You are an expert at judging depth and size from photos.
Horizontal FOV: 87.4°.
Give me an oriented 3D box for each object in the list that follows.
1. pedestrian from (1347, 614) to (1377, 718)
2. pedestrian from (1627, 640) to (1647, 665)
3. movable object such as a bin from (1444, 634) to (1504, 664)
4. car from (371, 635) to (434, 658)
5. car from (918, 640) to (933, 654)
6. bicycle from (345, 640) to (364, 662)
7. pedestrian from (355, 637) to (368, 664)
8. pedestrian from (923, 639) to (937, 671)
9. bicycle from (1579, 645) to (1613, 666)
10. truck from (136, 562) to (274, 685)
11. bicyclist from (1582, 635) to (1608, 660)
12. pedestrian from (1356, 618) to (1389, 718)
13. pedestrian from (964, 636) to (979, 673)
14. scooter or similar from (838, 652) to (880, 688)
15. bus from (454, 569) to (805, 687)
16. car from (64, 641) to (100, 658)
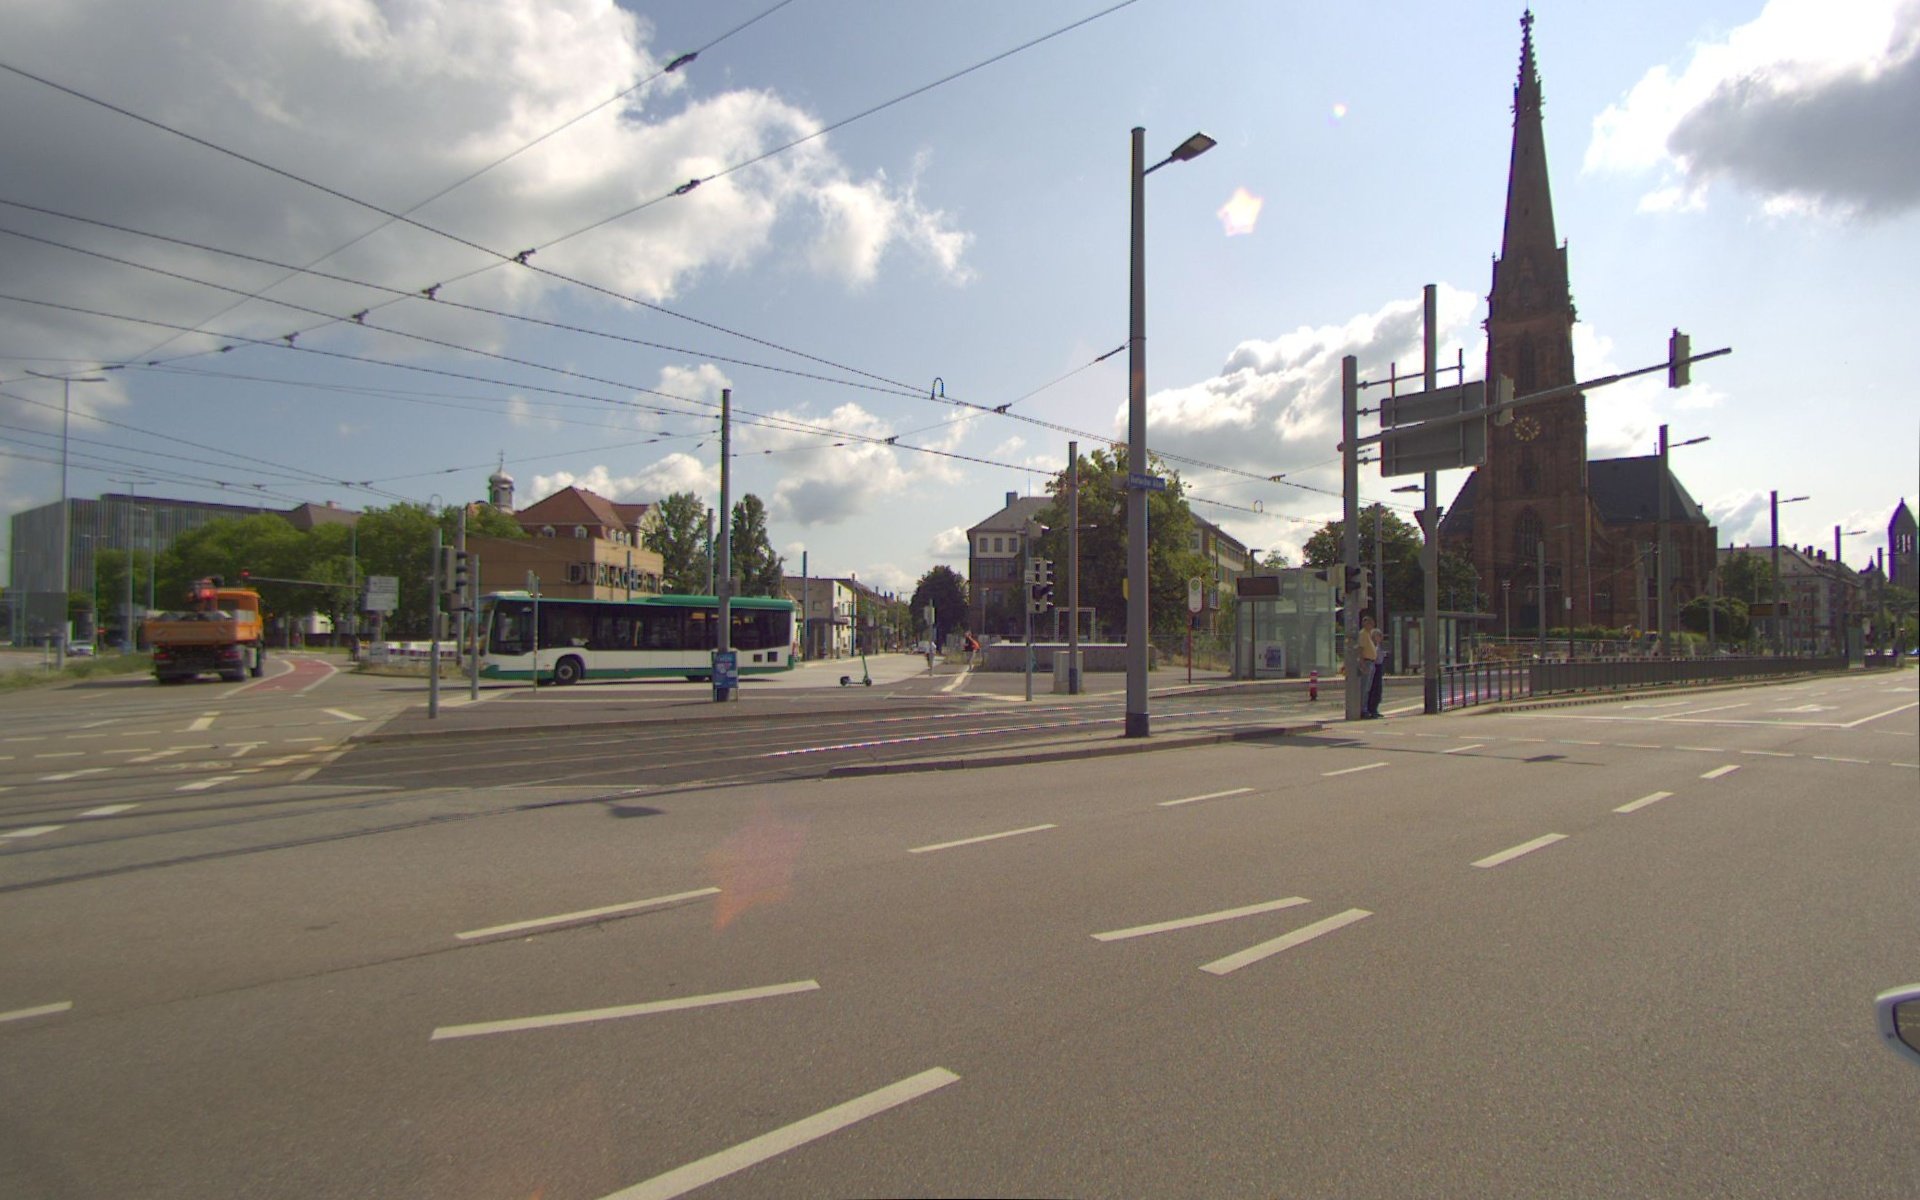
[{"bbox_3d":[8.027,1.303,20.054,0.420,2.040,0.576,-1,-3,37],"label":"pedestrian"},{"bbox_3d":[54.995,4.239,81.551,1.042,2.040,1.058,2,-3,-38],"label":"pedestrian"},{"bbox_3d":[51.716,4.950,101.112,5.080,2.949,1.990,-2,-3,42],"label":"movable object such as a bin"},{"bbox_3d":[-45.063,3.769,81.244,3.925,1.806,1.999,0,-2,-6],"label":"car"},{"bbox_3d":[-5.179,7.111,151.810,1.960,2.040,4.002,0,-2,2],"label":"car"},{"bbox_3d":[-41.350,3.470,68.558,0.963,1.429,2.271,1,-3,-35],"label":"bicycle"},{"bbox_3d":[-40.387,3.400,67.767,0.645,1.787,0.995,1,-2,-26],"label":"pedestrian"},{"bbox_3d":[-1.640,2.962,54.359,0.766,1.694,0.720,0,-2,-3],"label":"pedestrian"},{"bbox_3d":[44.524,3.899,70.322,3.668,1.445,1.182,3,-4,-44],"label":"bicycle"},{"bbox_3d":[-27.766,0.941,37.334,2.802,4.061,8.014,1,-3,-28],"label":"truck"},{"bbox_3d":[44.356,3.316,70.181,1.673,1.706,1.166,3,-3,-44],"label":"bicyclist"},{"bbox_3d":[8.584,1.406,20.892,0.495,2.040,0.514,-1,-3,37],"label":"pedestrian"},{"bbox_3d":[0.581,2.719,49.794,0.706,1.817,0.563,0,-2,1],"label":"pedestrian"},{"bbox_3d":[-3.355,2.317,33.400,0.800,1.182,1.163,-2,-3,39],"label":"scooter or similar"},{"bbox_3d":[-11.491,1.128,36.798,2.876,3.667,12.303,-2,-3,44],"label":"bus"},{"bbox_3d":[-80.345,4.510,91.876,3.939,1.545,1.824,-2,-3,39],"label":"car"}]
